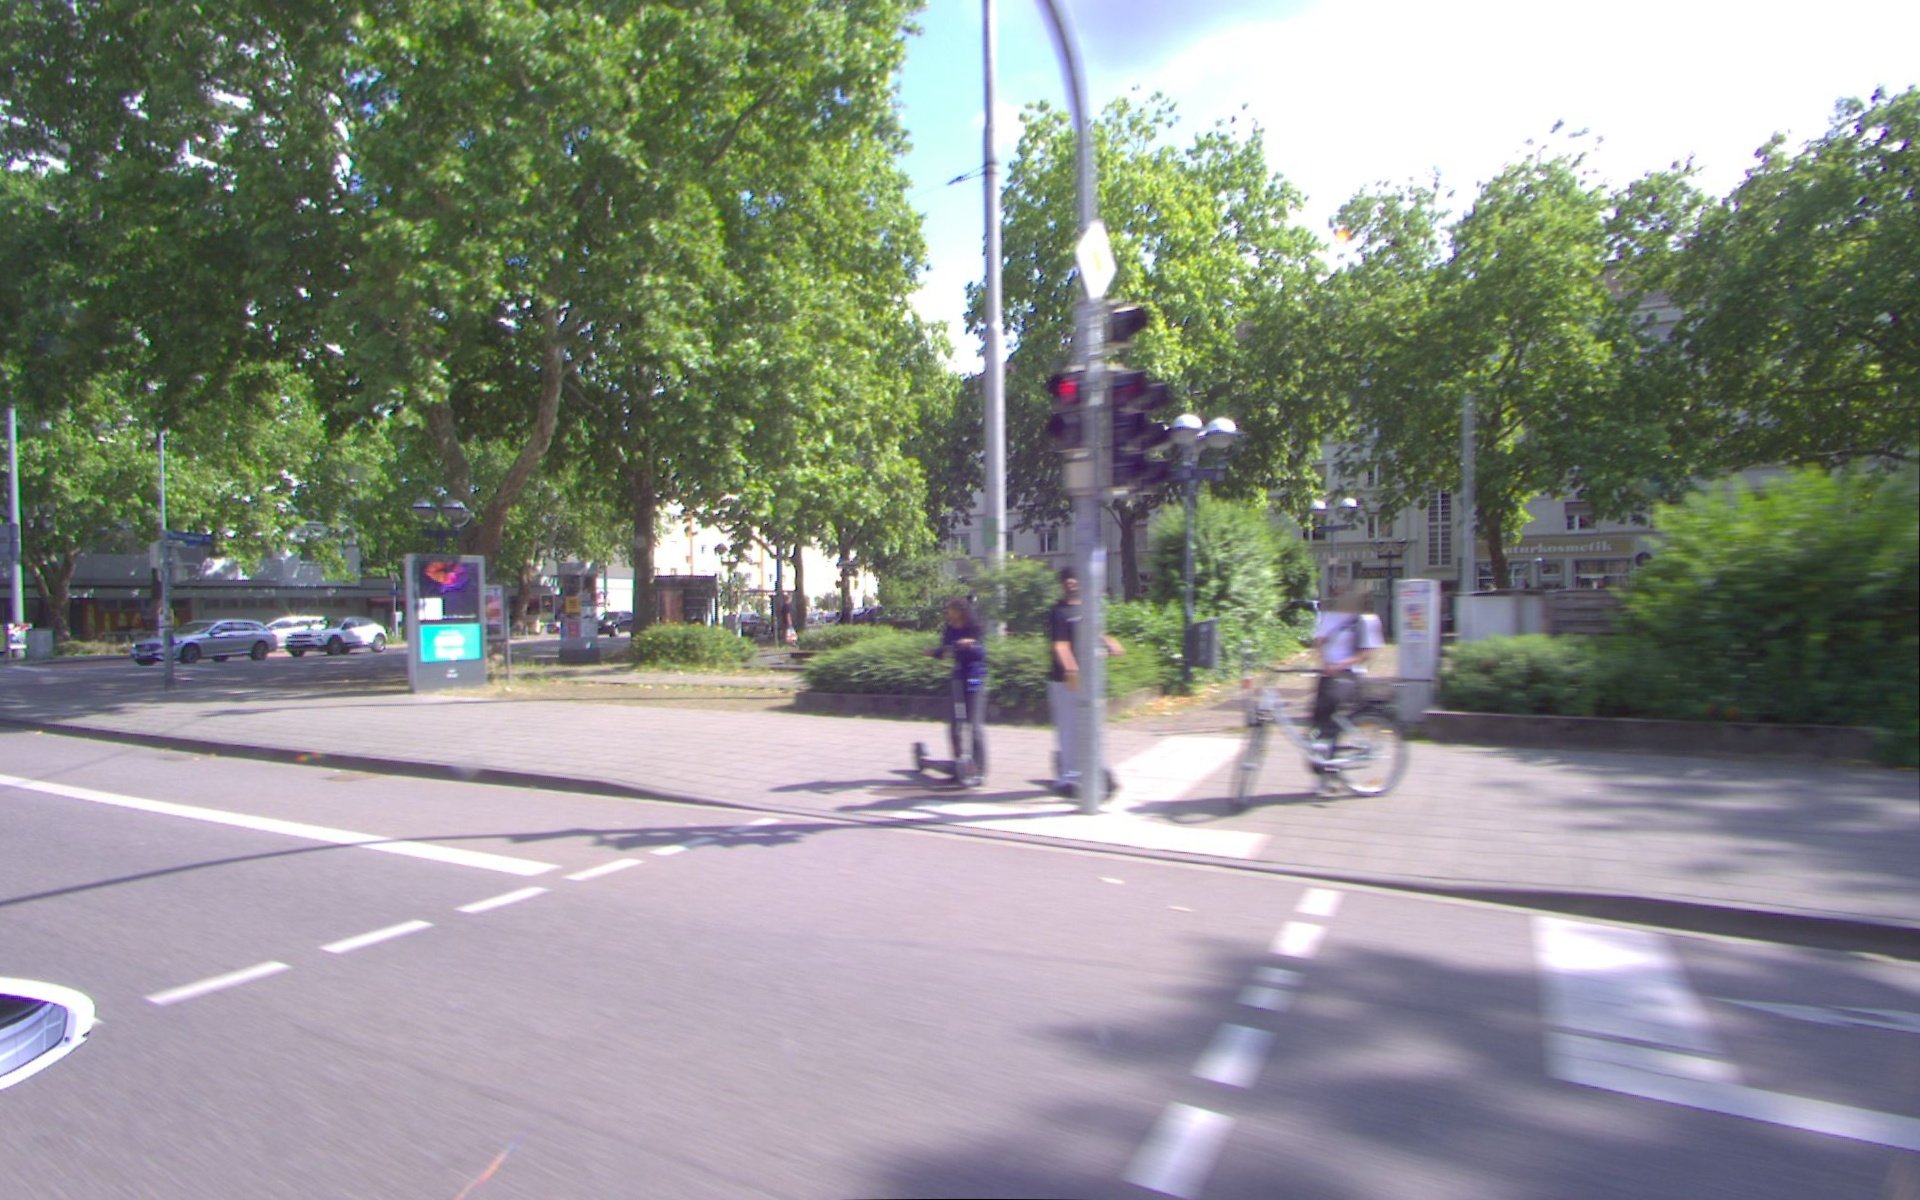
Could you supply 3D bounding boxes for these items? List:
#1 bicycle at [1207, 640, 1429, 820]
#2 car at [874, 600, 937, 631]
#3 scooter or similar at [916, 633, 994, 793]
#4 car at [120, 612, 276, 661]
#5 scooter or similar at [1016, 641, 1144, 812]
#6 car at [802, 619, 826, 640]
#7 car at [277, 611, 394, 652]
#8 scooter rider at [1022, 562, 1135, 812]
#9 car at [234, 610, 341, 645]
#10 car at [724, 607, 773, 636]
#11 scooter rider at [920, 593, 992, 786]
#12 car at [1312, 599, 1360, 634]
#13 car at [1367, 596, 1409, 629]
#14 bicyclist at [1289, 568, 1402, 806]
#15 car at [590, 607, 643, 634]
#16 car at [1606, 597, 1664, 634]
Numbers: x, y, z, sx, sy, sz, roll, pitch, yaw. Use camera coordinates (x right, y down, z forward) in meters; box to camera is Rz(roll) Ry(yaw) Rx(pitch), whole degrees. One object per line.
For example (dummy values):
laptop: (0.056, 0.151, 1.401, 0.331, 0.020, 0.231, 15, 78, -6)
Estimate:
bicycle: (2.673, 0.920, 7.443, 1.603, 1.128, 0.505, -3, 3, -22)
car: (-3.105, 0.891, 58.002, 1.823, 1.681, 4.066, 0, 0, 28)
scooter or similar: (-0.024, 0.935, 8.564, 0.534, 1.243, 0.876, -1, 2, 7)
car: (-25.965, 1.210, 34.304, 1.826, 1.510, 3.996, -1, 0, 13)
scooter or similar: (0.923, 0.945, 7.811, 0.538, 1.187, 0.870, -3, 3, -35)
car: (-13.406, 2.655, 91.940, 1.552, 1.742, 3.998, -1, 1, 1)
car: (-25.302, 1.256, 40.721, 1.825, 1.510, 4.074, -1, 0, 8)
scooter rider: (0.917, 0.633, 7.788, 0.538, 1.835, 0.675, -3, 3, -35)
car: (-31.882, 1.277, 47.604, 1.831, 1.510, 3.837, -1, 0, 25)
car: (-12.304, 1.204, 58.411, 1.658, 1.522, 3.998, -1, 1, 6)
scooter rider: (-0.026, 0.753, 8.602, 0.534, 1.615, 0.437, -1, 3, 7)
car: (17.451, 0.752, 46.391, 1.838, 1.538, 3.931, -1, 0, 24)
car: (23.518, 0.654, 54.941, 1.823, 1.681, 4.066, 0, 0, 28)
bicyclist: (2.890, 0.620, 7.514, 0.574, 1.691, 0.505, -3, 3, -21)
car: (-22.290, 1.318, 65.145, 1.658, 1.641, 3.999, -1, 0, 7)
car: (32.853, 0.720, 48.800, 1.822, 1.681, 4.067, 0, 0, 27)
